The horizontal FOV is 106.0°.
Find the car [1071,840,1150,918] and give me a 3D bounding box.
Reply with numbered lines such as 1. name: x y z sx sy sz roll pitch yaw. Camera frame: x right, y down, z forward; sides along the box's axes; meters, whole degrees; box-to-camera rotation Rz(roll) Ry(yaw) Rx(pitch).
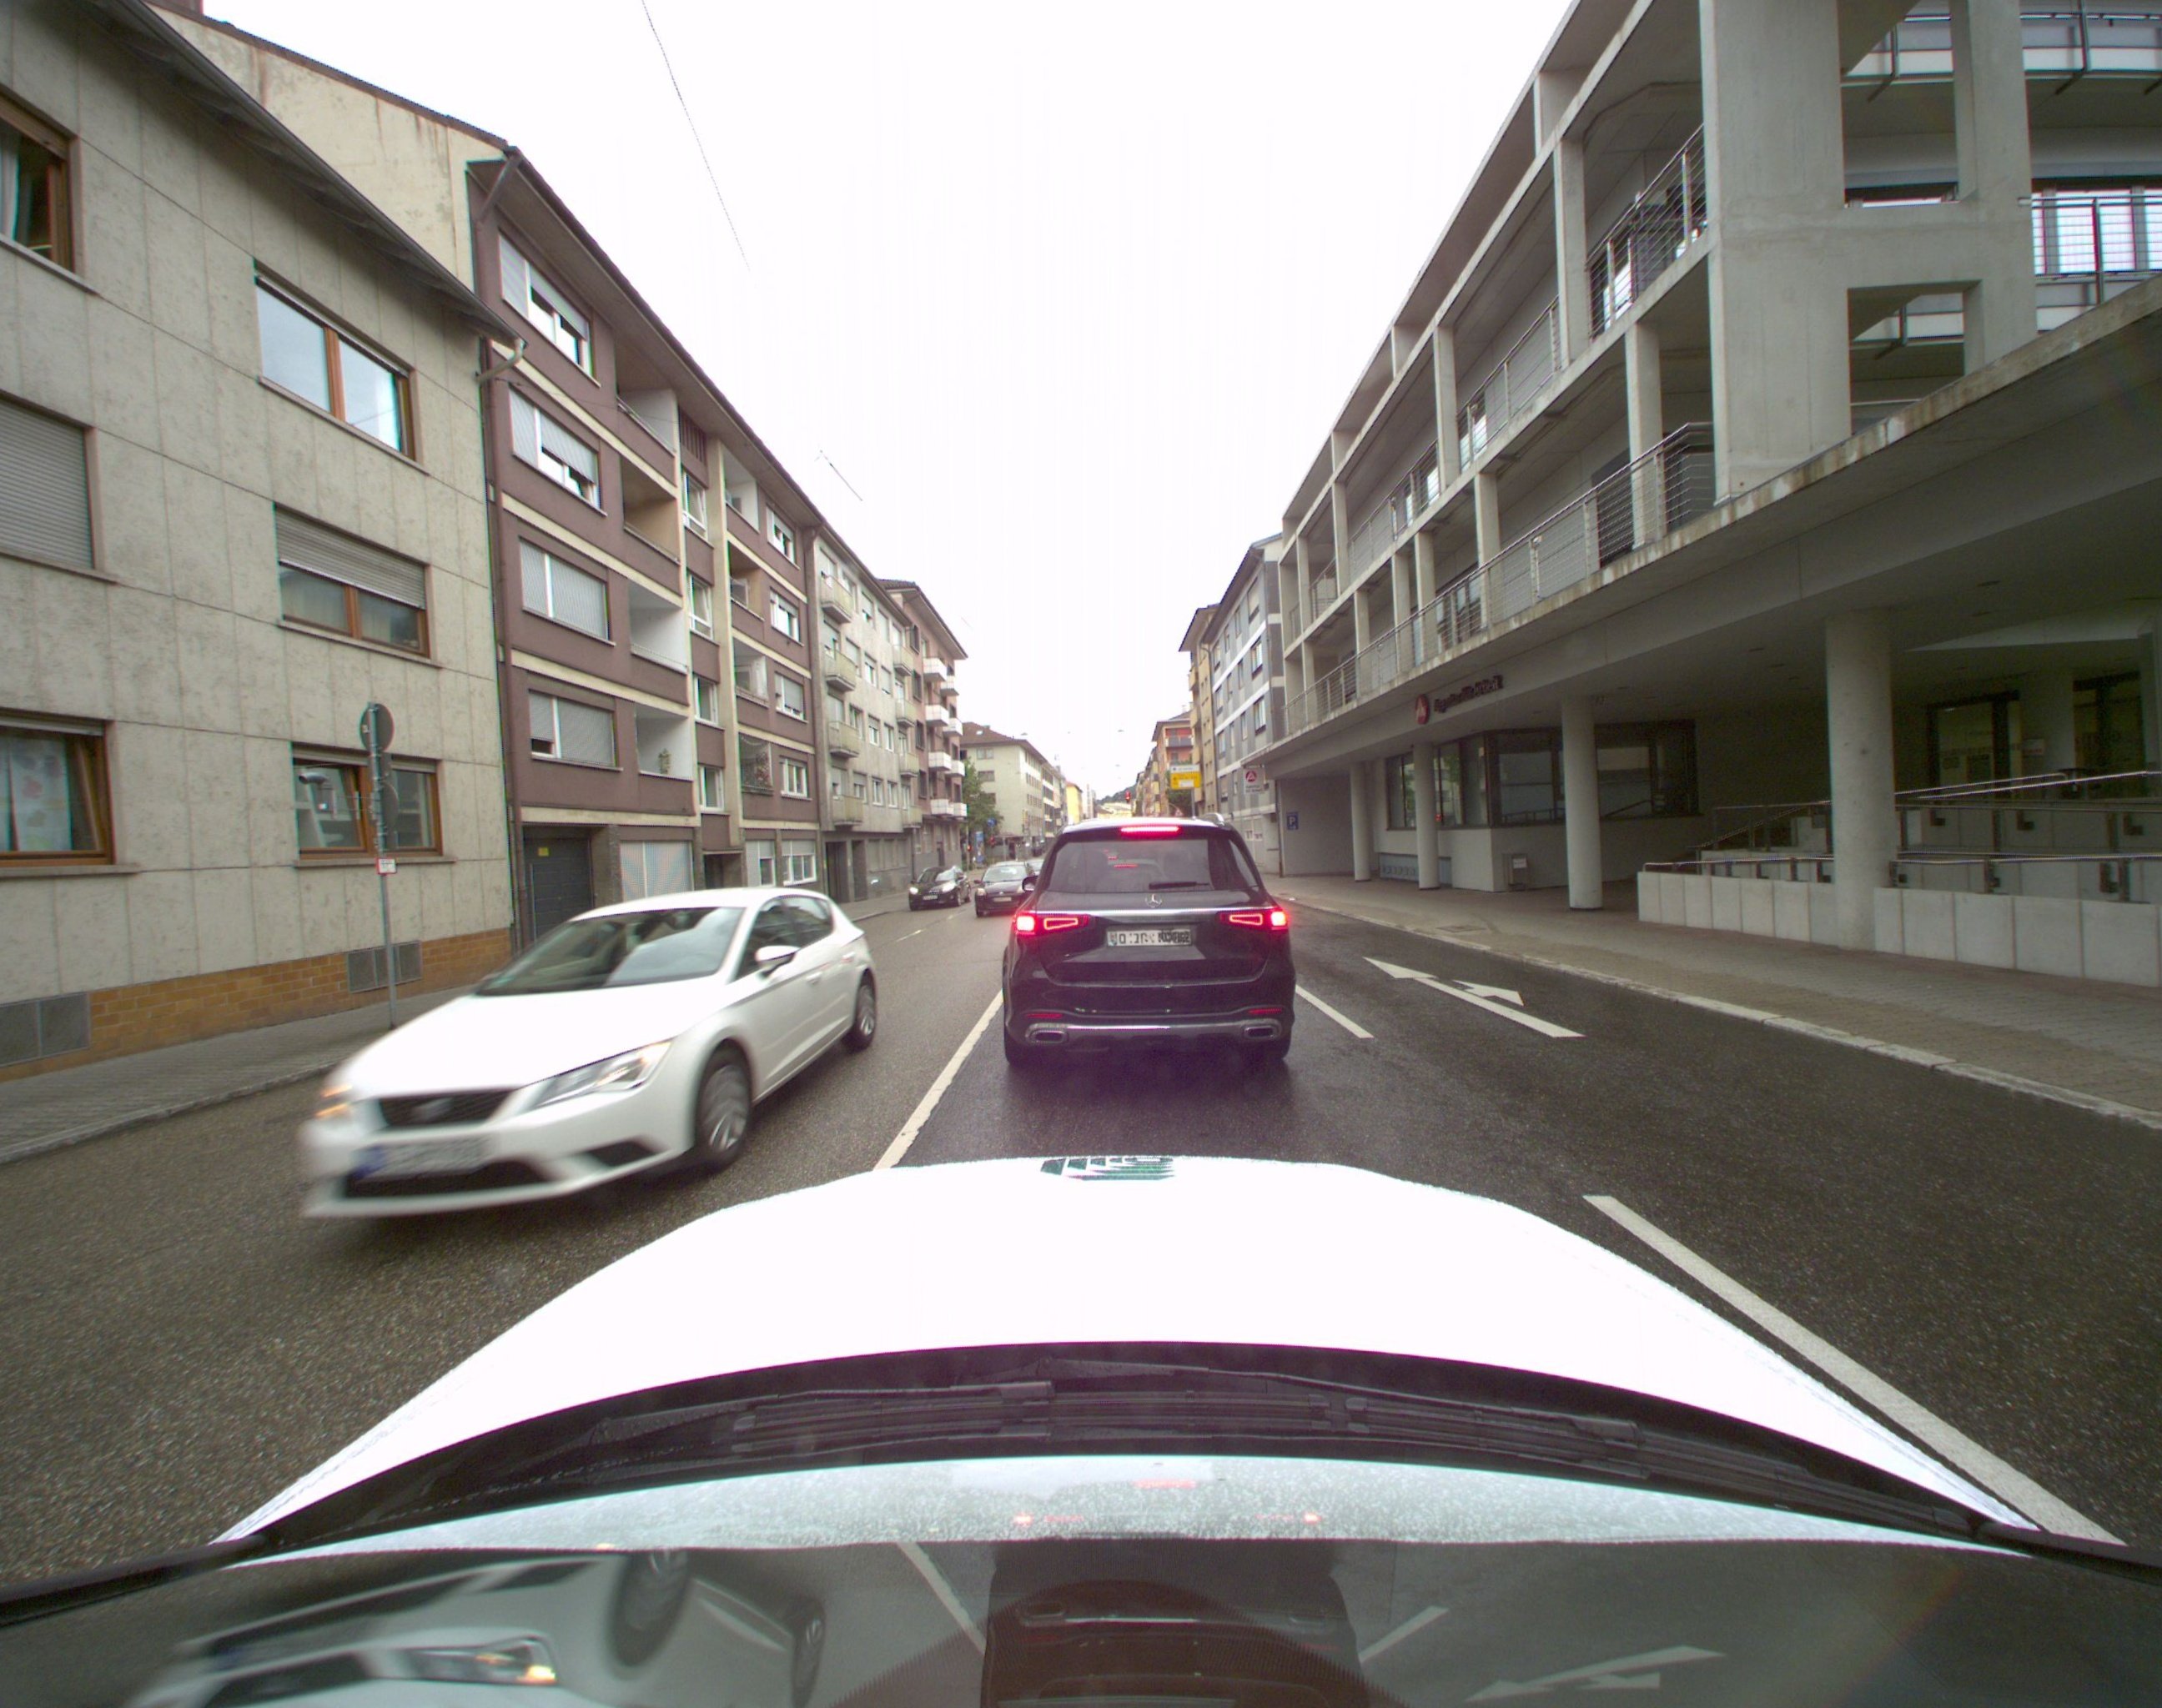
1. car: 0.672 0.593 20.958 1.746 1.731 4.216 -3 -1 0

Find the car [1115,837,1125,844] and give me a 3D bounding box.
1. car: 8.234 -2.835 172.426 1.879 1.372 4.216 -5 -1 0

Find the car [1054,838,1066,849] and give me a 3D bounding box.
1. car: -3.389 -1.676 131.947 1.613 1.539 4.216 -5 -1 0

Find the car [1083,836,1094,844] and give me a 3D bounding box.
1. car: 1.324 -2.576 149.223 1.879 1.264 4.216 -5 -1 0

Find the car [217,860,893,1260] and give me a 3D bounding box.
1. car: -2.682 0.882 5.449 1.738 1.539 4.053 -5 -1 1

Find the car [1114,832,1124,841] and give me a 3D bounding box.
1. car: 7.392 -3.316 157.020 1.613 1.539 4.216 -5 -1 0

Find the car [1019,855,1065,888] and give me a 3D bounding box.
1. car: -1.786 0.810 38.459 1.688 1.370 4.220 -5 -1 2

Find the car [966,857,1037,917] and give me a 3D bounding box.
1. car: -2.299 0.928 24.441 1.613 1.539 4.216 -5 -1 0

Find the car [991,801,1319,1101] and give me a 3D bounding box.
1. car: 0.515 0.606 7.136 1.977 1.805 4.391 0 -1 2

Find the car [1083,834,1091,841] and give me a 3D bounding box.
1. car: 1.447 -3.910 193.970 1.613 1.539 4.216 -5 -1 0

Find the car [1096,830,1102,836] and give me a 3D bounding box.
1. car: 5.539 -6.324 250.461 1.613 1.539 4.216 -5 -1 0

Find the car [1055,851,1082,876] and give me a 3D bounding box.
1. car: -0.891 0.714 59.592 1.689 1.580 4.217 -5 -1 1

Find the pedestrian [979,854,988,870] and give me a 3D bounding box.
1. pedestrian: -11.013 0.943 91.699 0.639 1.764 0.766 -3 0 -28

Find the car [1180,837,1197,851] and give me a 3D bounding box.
1. car: 12.478 -1.150 94.538 1.664 1.588 3.334 -3 0 4

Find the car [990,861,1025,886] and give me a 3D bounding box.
1. car: -4.623 1.201 51.581 1.689 1.370 4.366 -5 -1 0

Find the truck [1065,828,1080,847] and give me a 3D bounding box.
1. truck: -1.603 -3.137 157.371 2.472 3.046 9.917 -5 -1 0

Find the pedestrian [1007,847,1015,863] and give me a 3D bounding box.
1. pedestrian: -8.803 0.128 102.388 0.920 1.902 0.706 -3 0 0

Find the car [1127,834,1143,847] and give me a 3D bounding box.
1. car: 6.788 -1.690 102.118 1.613 1.387 4.216 -5 -1 0

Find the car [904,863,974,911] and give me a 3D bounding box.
1. car: -5.223 1.166 30.453 1.717 1.473 4.374 -5 0 0

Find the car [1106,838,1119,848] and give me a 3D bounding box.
1. car: 4.972 -1.764 130.445 1.986 1.488 4.002 -4 0 2

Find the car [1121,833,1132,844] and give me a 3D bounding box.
1. car: 7.723 -2.641 138.280 1.613 1.539 4.216 -5 -1 0
